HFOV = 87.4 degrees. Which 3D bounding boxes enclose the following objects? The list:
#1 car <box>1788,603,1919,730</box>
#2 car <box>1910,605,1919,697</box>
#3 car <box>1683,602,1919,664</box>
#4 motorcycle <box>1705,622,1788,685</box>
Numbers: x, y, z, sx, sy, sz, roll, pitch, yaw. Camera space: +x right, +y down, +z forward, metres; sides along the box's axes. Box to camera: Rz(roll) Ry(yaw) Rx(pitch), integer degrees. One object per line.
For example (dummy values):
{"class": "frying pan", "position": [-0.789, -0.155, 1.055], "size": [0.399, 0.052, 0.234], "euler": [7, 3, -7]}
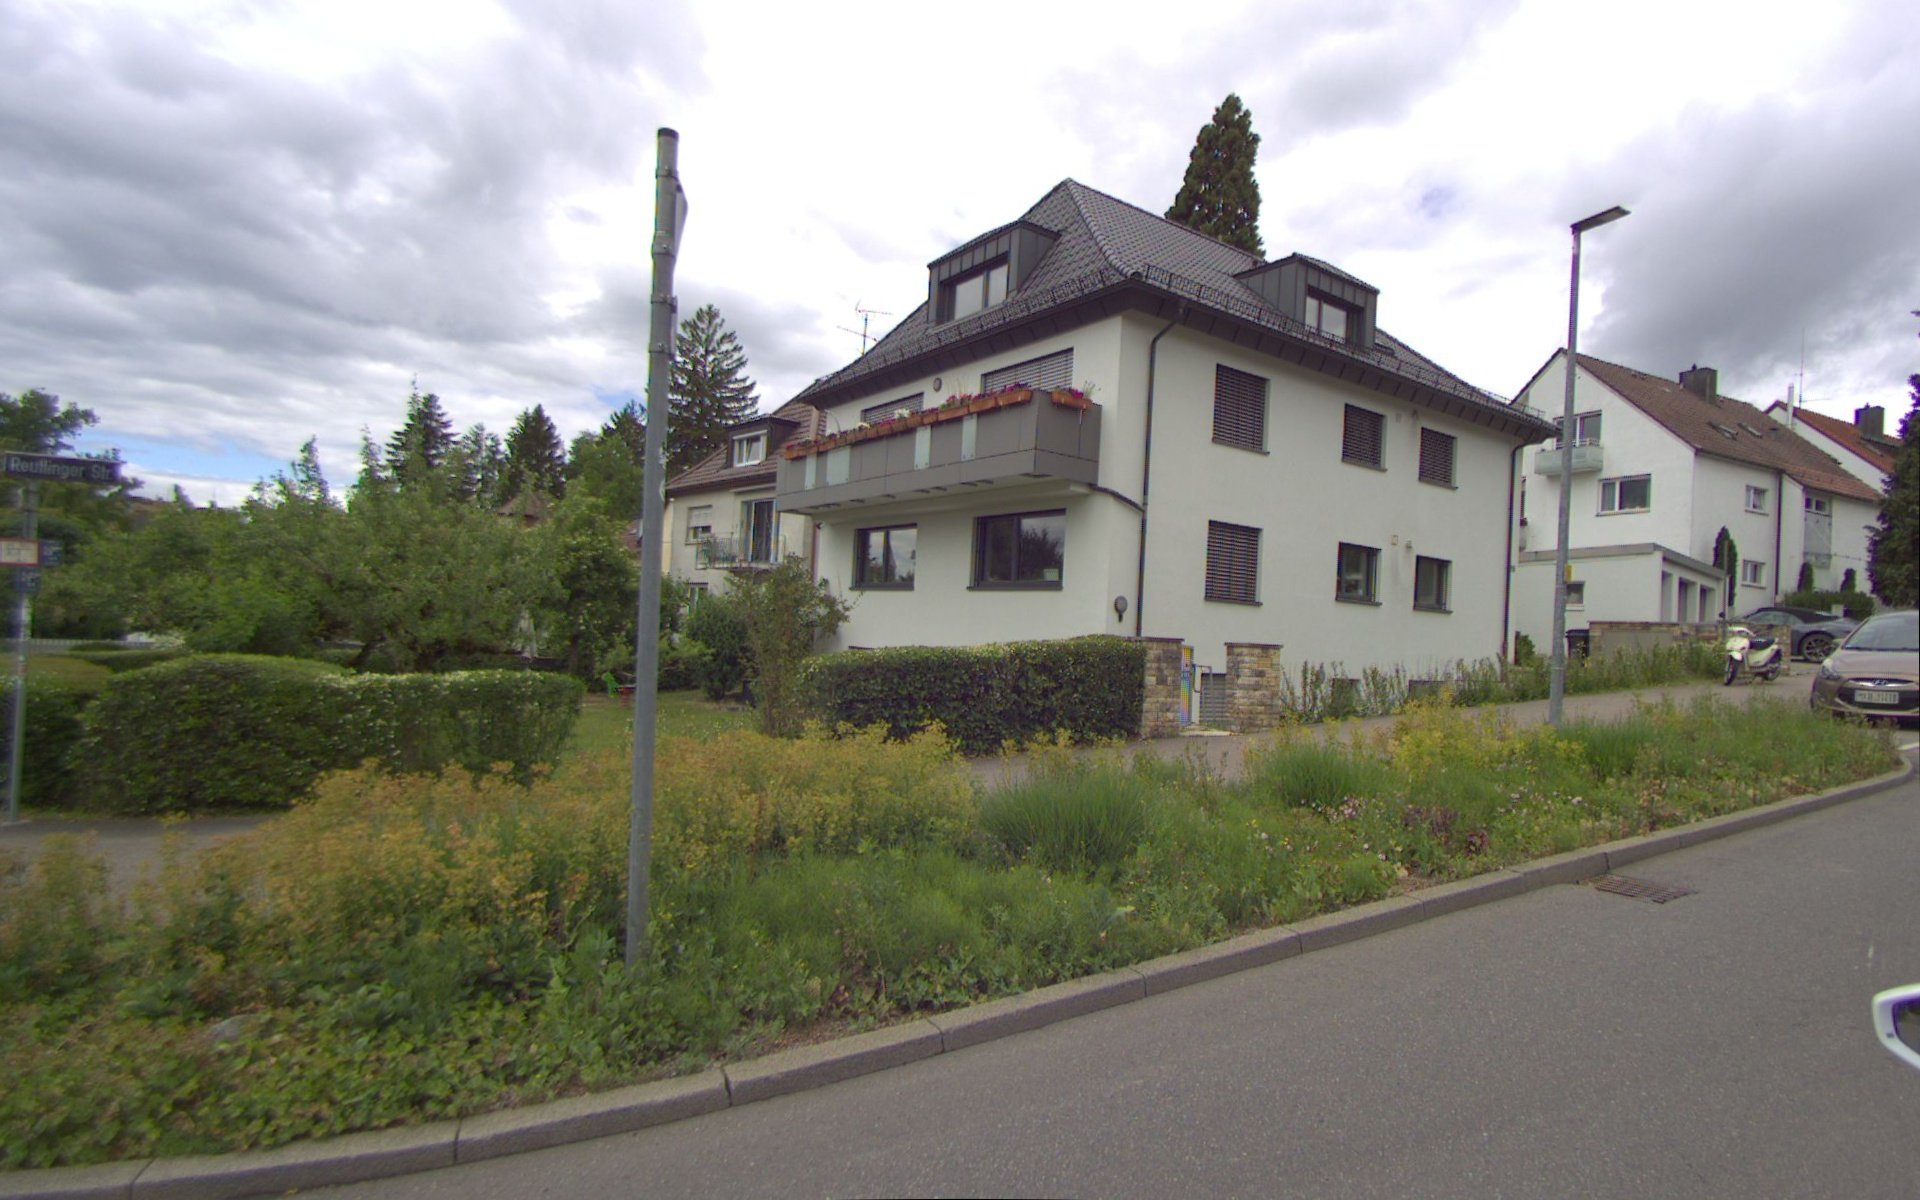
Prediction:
{"class": "car", "position": [13.716, 0.862, 14.261], "size": [3.827, 1.606, 1.868], "euler": [0, 0, -31]}
{"class": "car", "position": [18.312, 0.865, 17.378], "size": [3.466, 1.557, 1.868], "euler": [0, 0, -31]}
{"class": "car", "position": [20.870, 0.746, 25.071], "size": [1.886, 1.386, 4.257], "euler": [-1, 1, -36]}
{"class": "motorcycle", "position": [15.178, 1.024, 19.373], "size": [1.836, 1.176, 0.428], "euler": [1, -1, -23]}
